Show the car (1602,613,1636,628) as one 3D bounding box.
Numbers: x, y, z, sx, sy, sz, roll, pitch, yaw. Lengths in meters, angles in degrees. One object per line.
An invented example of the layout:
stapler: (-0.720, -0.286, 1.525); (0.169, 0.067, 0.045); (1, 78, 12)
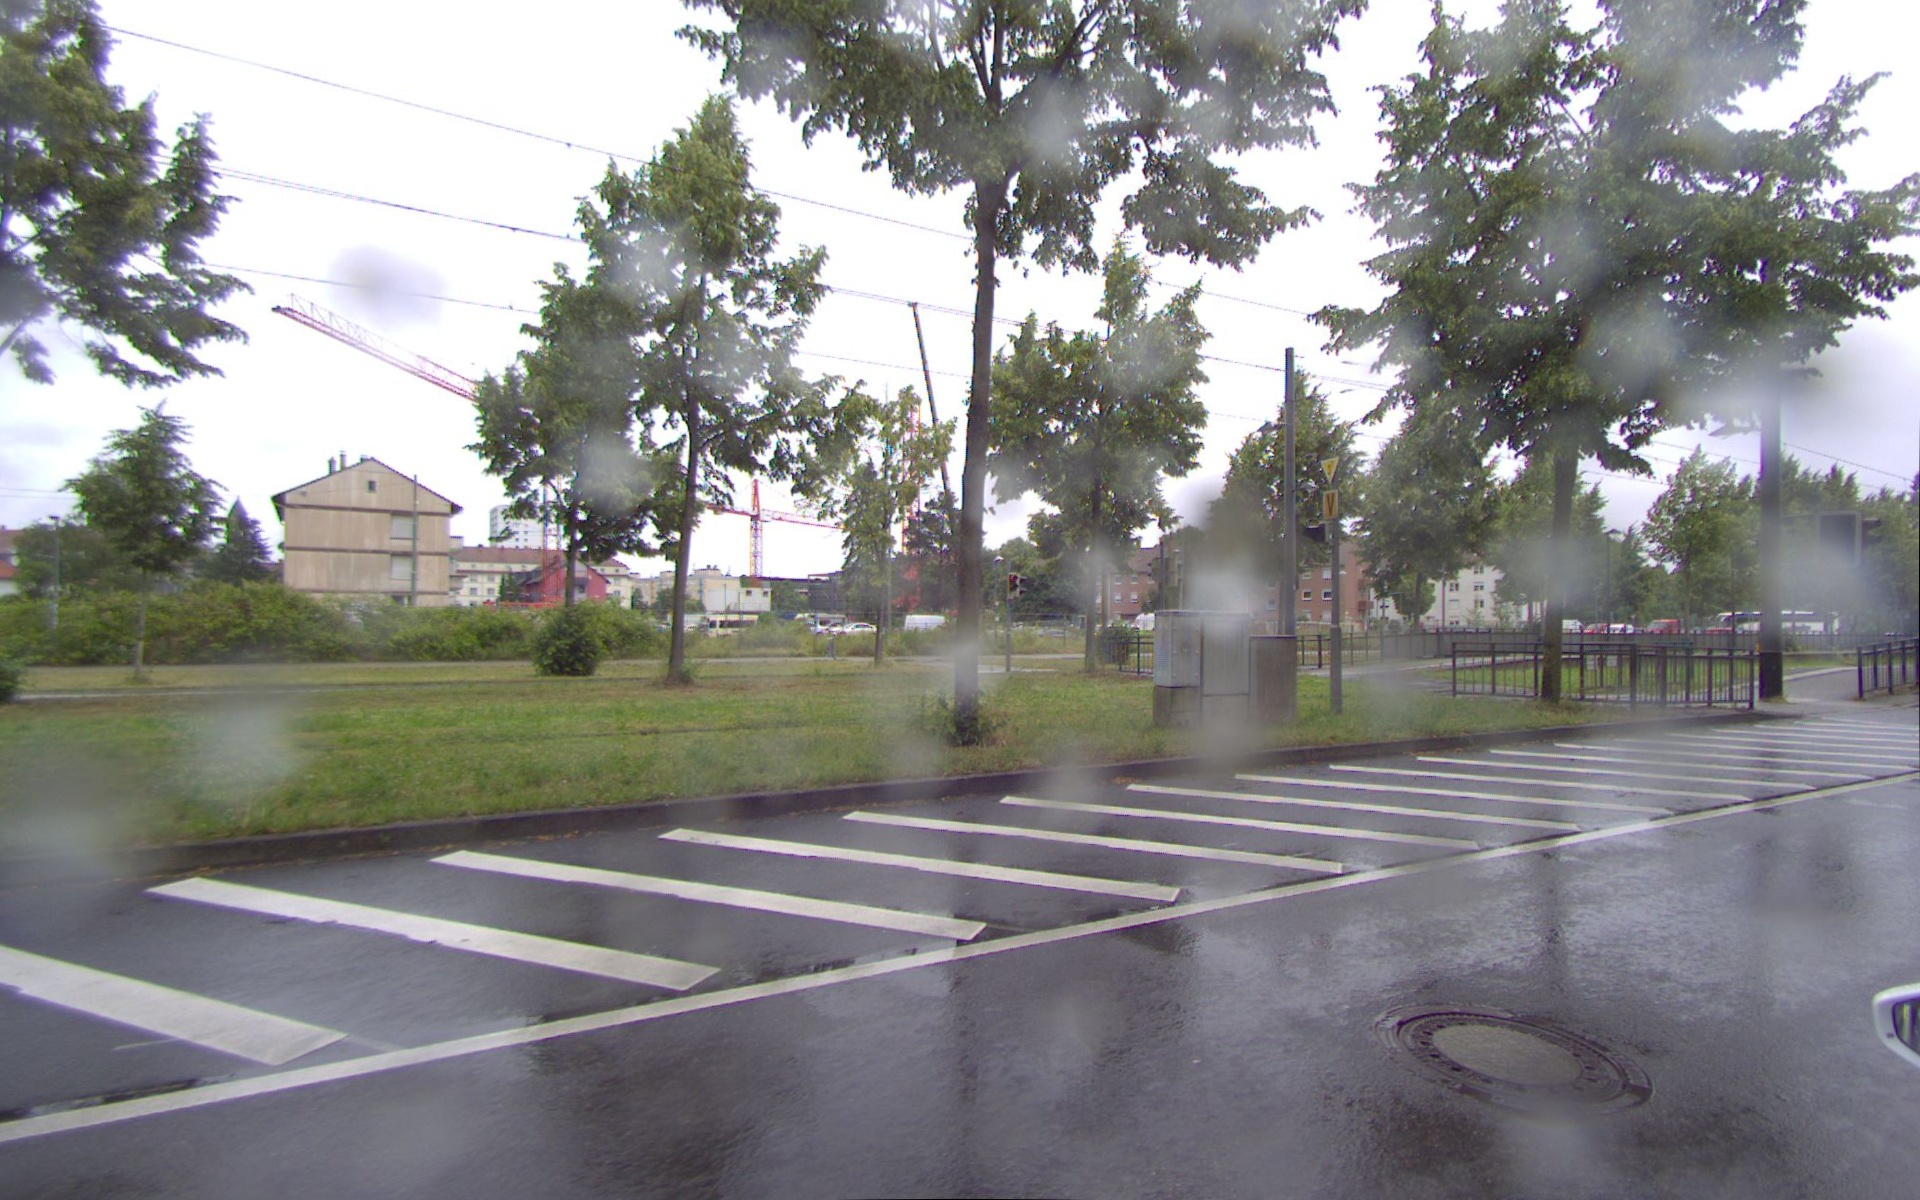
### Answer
car: (81.195, 2.534, 123.756); (3.486, 1.762, 1.700); (-2, 0, 37)

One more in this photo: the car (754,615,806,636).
car: (-14.459, 2.060, 80.655); (3.769, 1.540, 1.732); (-2, 0, -31)

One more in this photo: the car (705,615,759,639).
car: (-18.886, 2.241, 83.399); (3.968, 1.840, 1.808); (-1, 0, -41)

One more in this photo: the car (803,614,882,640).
car: (-9.414, 2.137, 80.629); (5.938, 1.840, 2.074); (-1, 0, -32)

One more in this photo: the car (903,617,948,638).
car: (-3.251, 2.597, 94.934); (3.968, 1.840, 1.808); (-1, 0, -41)

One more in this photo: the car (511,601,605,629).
car: (-27.458, 1.027, 68.707); (5.713, 1.694, 2.035); (-1, 0, -33)

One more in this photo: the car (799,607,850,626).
car: (-15.565, 1.898, 115.327); (5.461, 2.040, 1.981); (-1, 0, -35)

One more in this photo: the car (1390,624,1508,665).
car: (20.526, 1.832, 42.056); (5.442, 1.629, 1.940); (1, -2, -33)

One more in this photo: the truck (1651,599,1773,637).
truck: (96.063, 2.372, 128.731); (12.282, 4.654, 3.392); (-2, 0, 34)

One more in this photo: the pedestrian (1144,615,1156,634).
pedestrian: (17.044, 2.172, 90.069); (0.690, 1.694, 0.671); (-2, 0, -38)

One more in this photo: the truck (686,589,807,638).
truck: (-25.416, 1.552, 120.397); (6.107, 5.468, 13.251); (-2, 0, 39)
